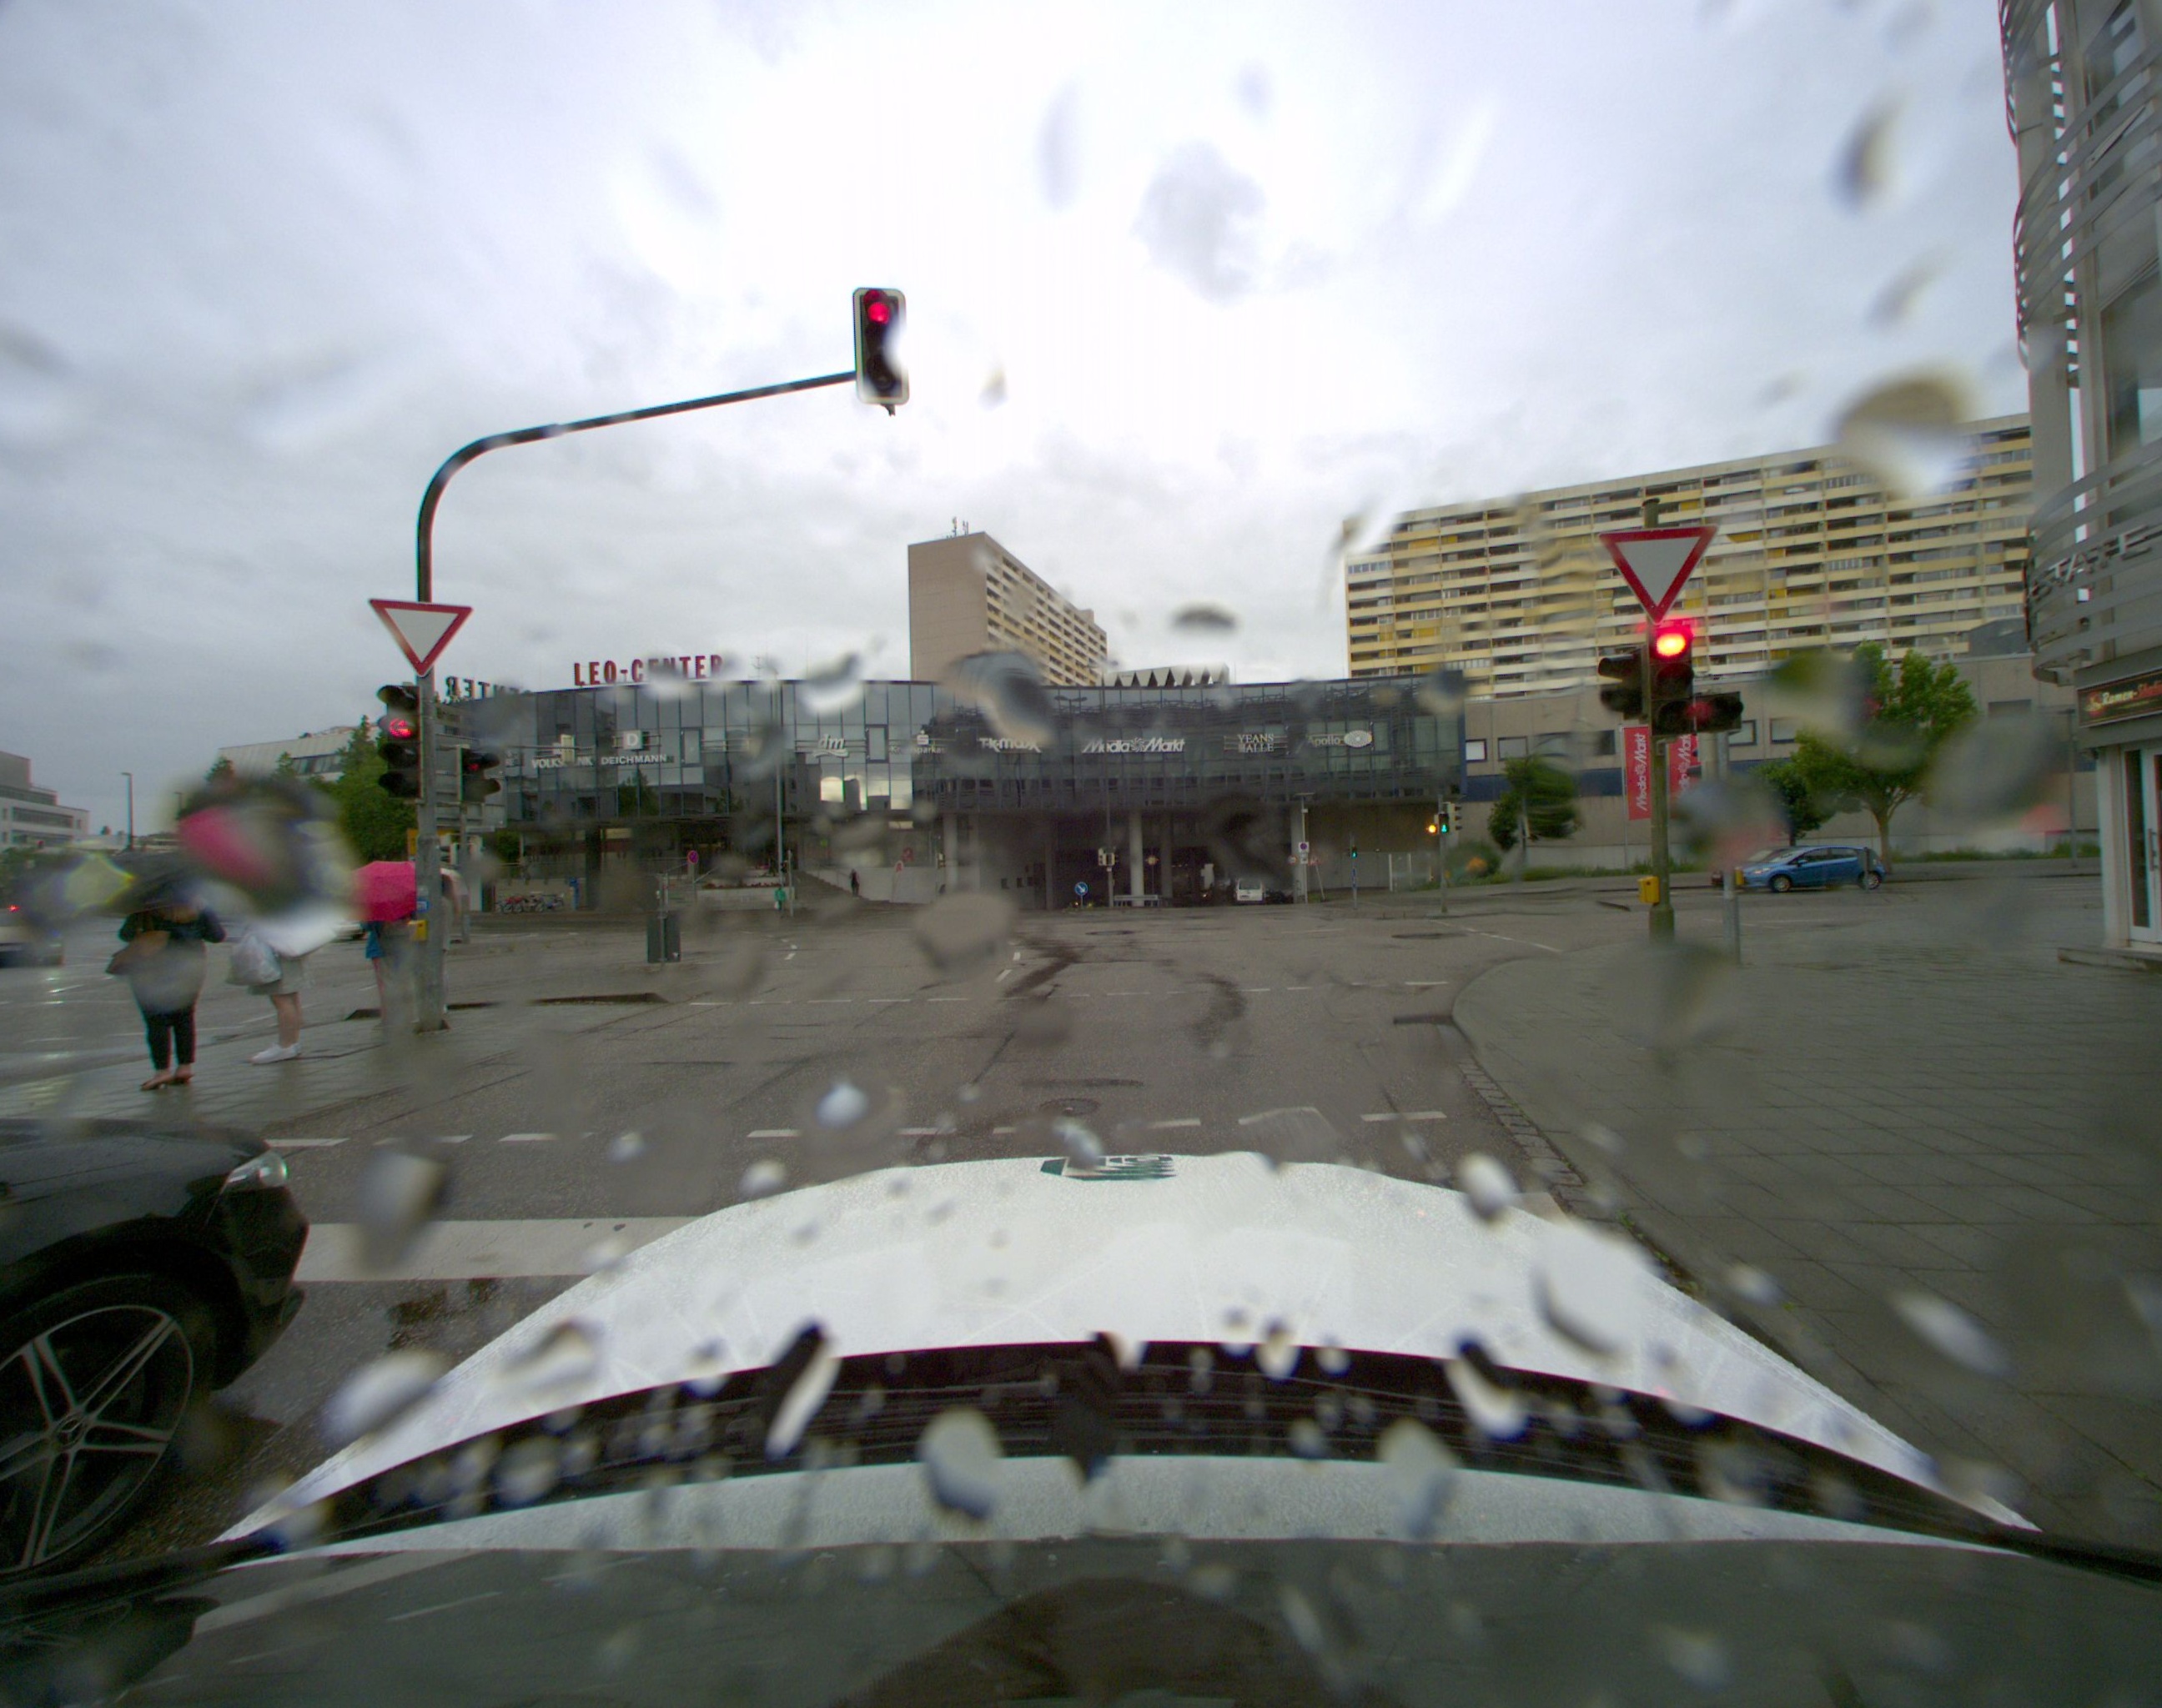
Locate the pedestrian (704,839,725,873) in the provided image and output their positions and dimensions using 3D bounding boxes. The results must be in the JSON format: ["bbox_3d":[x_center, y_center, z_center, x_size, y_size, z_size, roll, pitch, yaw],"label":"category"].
[{"bbox_3d":[-21.735,0.116,48.332,0.940,2.014,0.837,-1,-2,44],"label":"pedestrian"}]

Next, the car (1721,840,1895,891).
[{"bbox_3d":[23.424,0.391,26.381,3.819,1.397,1.684,-3,-2,10],"label":"car"}]

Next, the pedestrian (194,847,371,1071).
[{"bbox_3d":[-6.891,0.839,7.028,1.123,1.744,0.865,-3,-1,34],"label":"pedestrian"}]

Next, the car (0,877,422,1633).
[{"bbox_3d":[-3.004,0.830,0.613,1.657,1.481,4.094,0,0,0],"label":"car"}]

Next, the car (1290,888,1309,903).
[{"bbox_3d":[24.274,4.563,90.420,1.874,1.491,3.856,-1,-1,16],"label":"car"}]

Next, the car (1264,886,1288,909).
[{"bbox_3d":[16.956,3.740,70.744,1.777,1.771,4.017,-3,-2,17],"label":"car"}]

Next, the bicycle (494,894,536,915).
[{"bbox_3d":[-32.394,2.883,46.622,0.621,1.033,1.865,-3,1,20],"label":"bicycle"}]

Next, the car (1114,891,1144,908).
[{"bbox_3d":[4.424,4.124,74.427,1.756,1.464,3.892,-3,-4,17],"label":"car"}]

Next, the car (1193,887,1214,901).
[{"bbox_3d":[15.252,4.968,101.617,1.978,1.664,4.018,-1,-1,17],"label":"car"}]

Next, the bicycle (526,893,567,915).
[{"bbox_3d":[-30.096,2.814,45.900,0.625,1.023,1.864,-3,1,20],"label":"bicycle"}]

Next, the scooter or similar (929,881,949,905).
[{"bbox_3d":[-8.477,2.329,48.536,1.167,1.373,0.487,0,-1,-13],"label":"scooter or similar"}]

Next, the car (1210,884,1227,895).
[{"bbox_3d":[19.316,4.964,114.248,1.979,1.464,4.016,-3,-2,15],"label":"car"}]

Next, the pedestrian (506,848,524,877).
[{"bbox_3d":[-33.889,0.518,48.731,0.592,1.714,0.658,-1,-1,25],"label":"pedestrian"}]

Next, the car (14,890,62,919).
[{"bbox_3d":[-75.052,3.593,58.593,4.085,1.896,2.062,-1,-1,38],"label":"car"}]

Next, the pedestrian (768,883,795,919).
[{"bbox_3d":[-14.314,2.237,38.879,0.946,1.623,0.808,-2,-1,-2],"label":"pedestrian"}]

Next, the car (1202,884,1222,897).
[{"bbox_3d":[17.600,4.888,109.204,1.978,1.464,4.018,-3,-2,17],"label":"car"}]

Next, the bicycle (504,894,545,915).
[{"bbox_3d":[-31.684,2.871,46.378,0.640,1.042,1.865,-3,1,20],"label":"bicycle"}]

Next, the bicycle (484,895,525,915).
[{"bbox_3d":[-33.080,2.893,46.760,0.529,0.951,1.865,-1,2,23],"label":"bicycle"}]

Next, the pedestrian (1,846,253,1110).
[{"bbox_3d":[-6.980,0.836,6.035,0.956,1.736,0.829,-2,-2,-28],"label":"pedestrian"}]

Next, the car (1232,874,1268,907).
[{"bbox_3d":[10.103,2.155,48.511,1.912,1.798,4.310,-2,-3,13],"label":"car"}]

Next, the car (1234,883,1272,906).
[{"bbox_3d":[11.875,2.839,56.092,1.742,1.464,3.963,-3,-5,23],"label":"car"}]

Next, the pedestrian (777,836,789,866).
[{"bbox_3d":[-18.076,-0.150,49.416,0.633,1.807,0.501,0,-1,-16],"label":"pedestrian"}]

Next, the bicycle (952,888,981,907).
[{"bbox_3d":[-6.894,2.618,48.979,1.591,1.018,0.448,5,-3,-29],"label":"bicycle"}]

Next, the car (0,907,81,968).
[{"bbox_3d":[-28.127,2.146,21.074,5.079,1.414,2.136,-3,-2,31],"label":"car"}]

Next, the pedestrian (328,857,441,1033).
[{"bbox_3d":[-7.197,0.896,8.414,0.665,1.685,0.811,-4,-2,45],"label":"pedestrian"}]

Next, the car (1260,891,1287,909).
[{"bbox_3d":[15.565,3.727,65.705,1.765,1.400,4.017,-3,-4,17],"label":"car"}]

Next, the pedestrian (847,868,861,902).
[{"bbox_3d":[-13.168,1.781,47.216,0.655,1.908,0.593,-1,-1,-6],"label":"pedestrian"}]

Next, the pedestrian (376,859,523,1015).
[{"bbox_3d":[-7.245,0.919,9.390,0.932,1.677,0.917,-2,-1,1],"label":"pedestrian"}]

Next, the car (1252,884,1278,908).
[{"bbox_3d":[13.774,3.141,60.729,1.621,1.612,4.278,-3,-4,15],"label":"car"}]

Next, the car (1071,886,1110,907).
[{"bbox_3d":[0.760,3.314,62.583,1.877,1.470,4.044,-2,-5,18],"label":"car"}]

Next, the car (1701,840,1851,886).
[{"bbox_3d":[24.848,0.329,29.235,3.660,1.395,1.750,-3,-2,11],"label":"car"}]

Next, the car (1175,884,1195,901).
[{"bbox_3d":[12.257,4.518,95.906,1.823,1.728,4.014,-2,-1,13],"label":"car"}]

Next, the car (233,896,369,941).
[{"bbox_3d":[-27.988,2.305,29.247,3.949,1.441,1.754,-2,-1,16],"label":"car"}]
